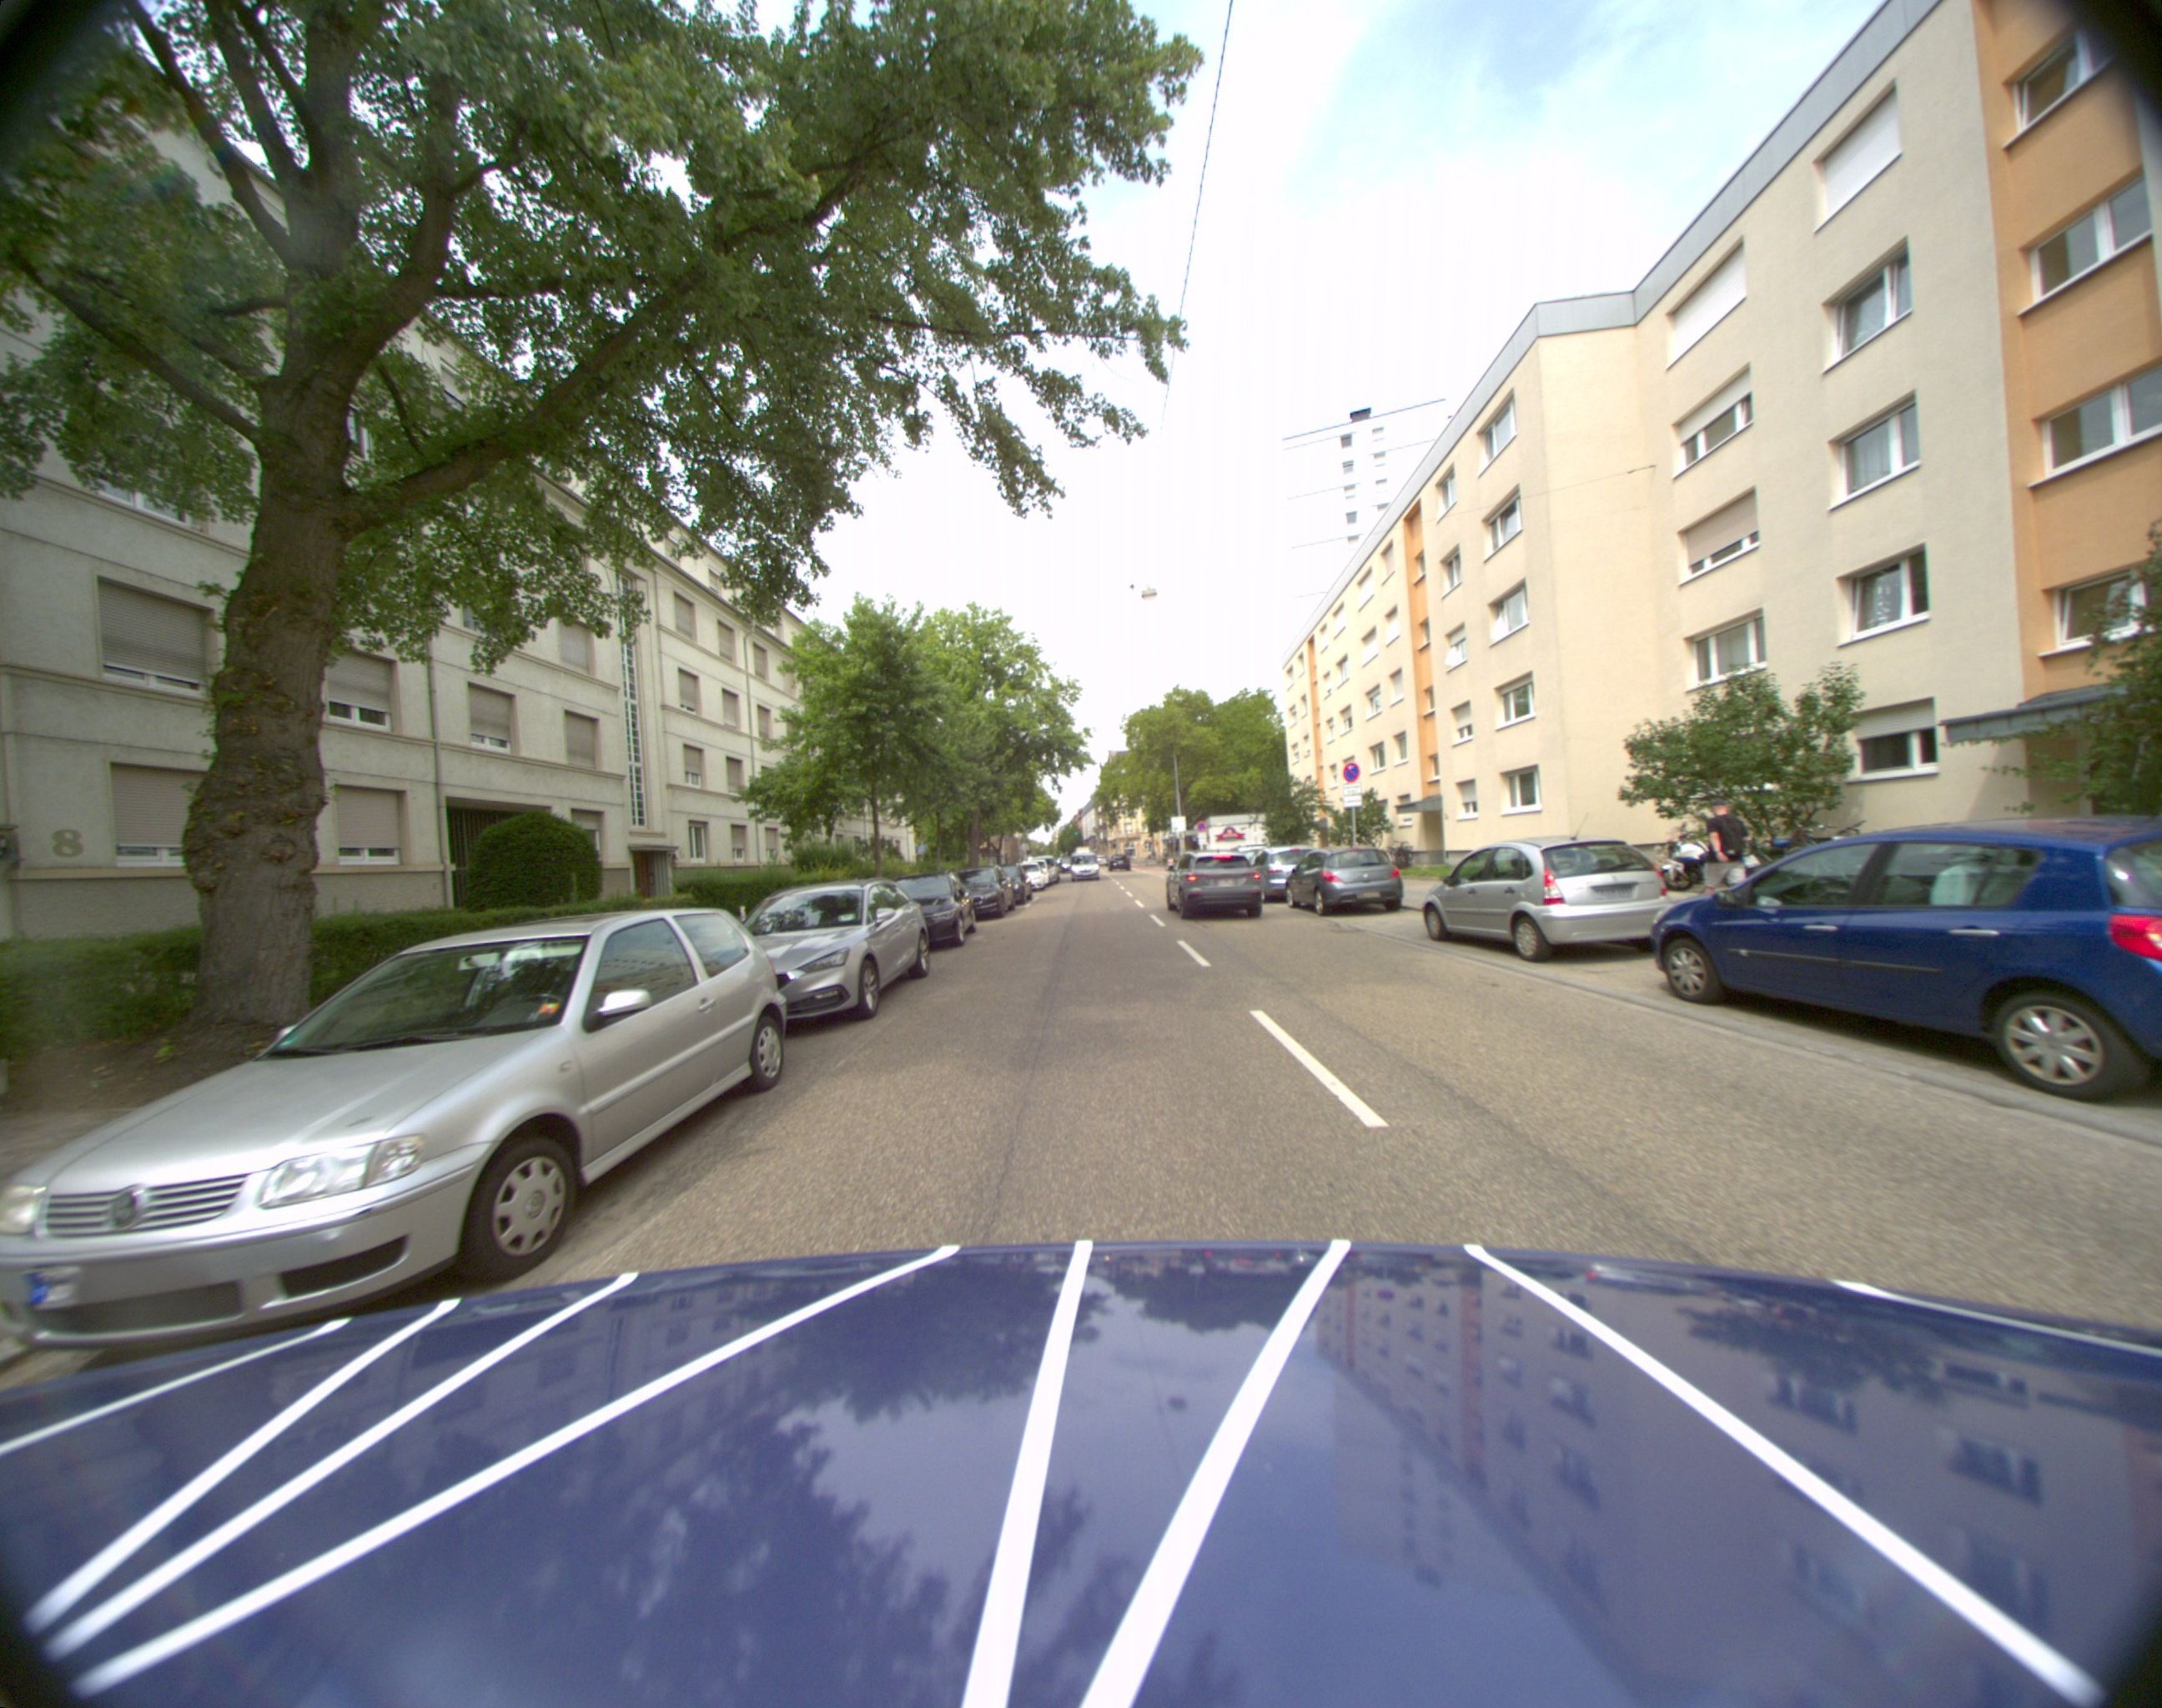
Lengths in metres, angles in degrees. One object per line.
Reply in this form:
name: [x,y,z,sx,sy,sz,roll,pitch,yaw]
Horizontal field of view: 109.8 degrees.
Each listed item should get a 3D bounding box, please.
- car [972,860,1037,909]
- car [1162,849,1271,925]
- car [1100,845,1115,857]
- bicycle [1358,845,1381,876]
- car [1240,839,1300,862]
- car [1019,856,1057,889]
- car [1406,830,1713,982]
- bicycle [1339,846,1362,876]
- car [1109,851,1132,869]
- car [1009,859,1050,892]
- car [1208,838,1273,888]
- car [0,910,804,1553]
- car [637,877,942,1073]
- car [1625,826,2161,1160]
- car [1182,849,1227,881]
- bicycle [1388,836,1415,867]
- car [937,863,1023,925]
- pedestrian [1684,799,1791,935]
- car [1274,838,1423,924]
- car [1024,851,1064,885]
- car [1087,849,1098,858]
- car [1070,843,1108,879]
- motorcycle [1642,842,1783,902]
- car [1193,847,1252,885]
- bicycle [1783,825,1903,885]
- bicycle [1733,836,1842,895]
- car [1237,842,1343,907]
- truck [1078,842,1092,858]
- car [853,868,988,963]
car: [-2.697,1.054,27.633,1.701,1.461,4.101,-5,0,2]
car: [3.201,0.729,18.833,1.822,1.576,4.436,-3,0,0]
car: [3.355,-0.342,97.504,1.848,1.442,4.185,-3,0,1]
bicycle: [12.526,0.275,33.043,0.537,1.243,2.047,-4,-1,11]
car: [15.969,-0.286,64.331,4.640,1.676,1.850,-3,0,7]
car: [-2.362,0.990,42.539,1.608,1.598,3.805,-5,0,2]
car: [6.185,0.584,10.438,1.674,1.552,3.851,-5,0,0]
bicycle: [11.775,0.307,33.220,0.580,1.243,1.935,-4,-1,11]
car: [3.666,0.528,70.535,1.956,1.512,4.613,-1,0,1]
car: [-2.531,1.017,38.046,1.701,1.441,4.101,-4,0,-1]
car: [5.992,0.312,28.960,1.701,1.603,4.478,-5,0,4]
car: [-3.068,1.218,3.988,1.674,1.392,3.851,-6,0,0]
car: [-3.022,1.146,9.110,1.701,1.461,4.717,-5,0,0]
car: [6.053,0.633,5.255,1.822,1.474,3.885,-5,0,3]
car: [6.375,0.544,39.633,1.712,1.464,3.990,-5,0,3]
bicycle: [13.804,-0.105,32.724,0.556,1.243,1.919,-4,-1,9]
car: [-2.870,1.091,22.505,1.701,1.461,4.560,-5,0,2]
pedestrian: [9.301,0.181,10.802,0.621,1.802,0.899,-5,1,-1]
car: [6.072,0.552,17.829,1.947,1.603,4.302,-5,0,1]
car: [-2.220,0.845,47.345,1.922,1.854,4.846,-5,0,2]
car: [2.054,-0.056,134.555,1.701,1.509,4.000,-3,0,0]
car: [0.438,0.449,48.039,2.082,2.039,4.680,-4,0,-2]
motorcycle: [11.643,0.300,14.136,0.663,0.980,2.317,-5,0,1]
car: [6.315,0.512,34.307,1.713,1.464,3.989,-5,0,-1]
bicycle: [13.684,0.012,13.714,0.441,0.980,1.674,-5,0,1]
bicycle: [12.881,0.196,13.919,0.441,0.980,1.616,-5,0,1]
car: [6.184,0.542,23.105,1.947,1.603,4.862,-5,0,3]
truck: [0.738,-0.759,150.680,2.548,3.089,7.019,-2,0,-2]
car: [-3.120,1.126,15.761,1.701,1.461,4.753,-5,0,0]
